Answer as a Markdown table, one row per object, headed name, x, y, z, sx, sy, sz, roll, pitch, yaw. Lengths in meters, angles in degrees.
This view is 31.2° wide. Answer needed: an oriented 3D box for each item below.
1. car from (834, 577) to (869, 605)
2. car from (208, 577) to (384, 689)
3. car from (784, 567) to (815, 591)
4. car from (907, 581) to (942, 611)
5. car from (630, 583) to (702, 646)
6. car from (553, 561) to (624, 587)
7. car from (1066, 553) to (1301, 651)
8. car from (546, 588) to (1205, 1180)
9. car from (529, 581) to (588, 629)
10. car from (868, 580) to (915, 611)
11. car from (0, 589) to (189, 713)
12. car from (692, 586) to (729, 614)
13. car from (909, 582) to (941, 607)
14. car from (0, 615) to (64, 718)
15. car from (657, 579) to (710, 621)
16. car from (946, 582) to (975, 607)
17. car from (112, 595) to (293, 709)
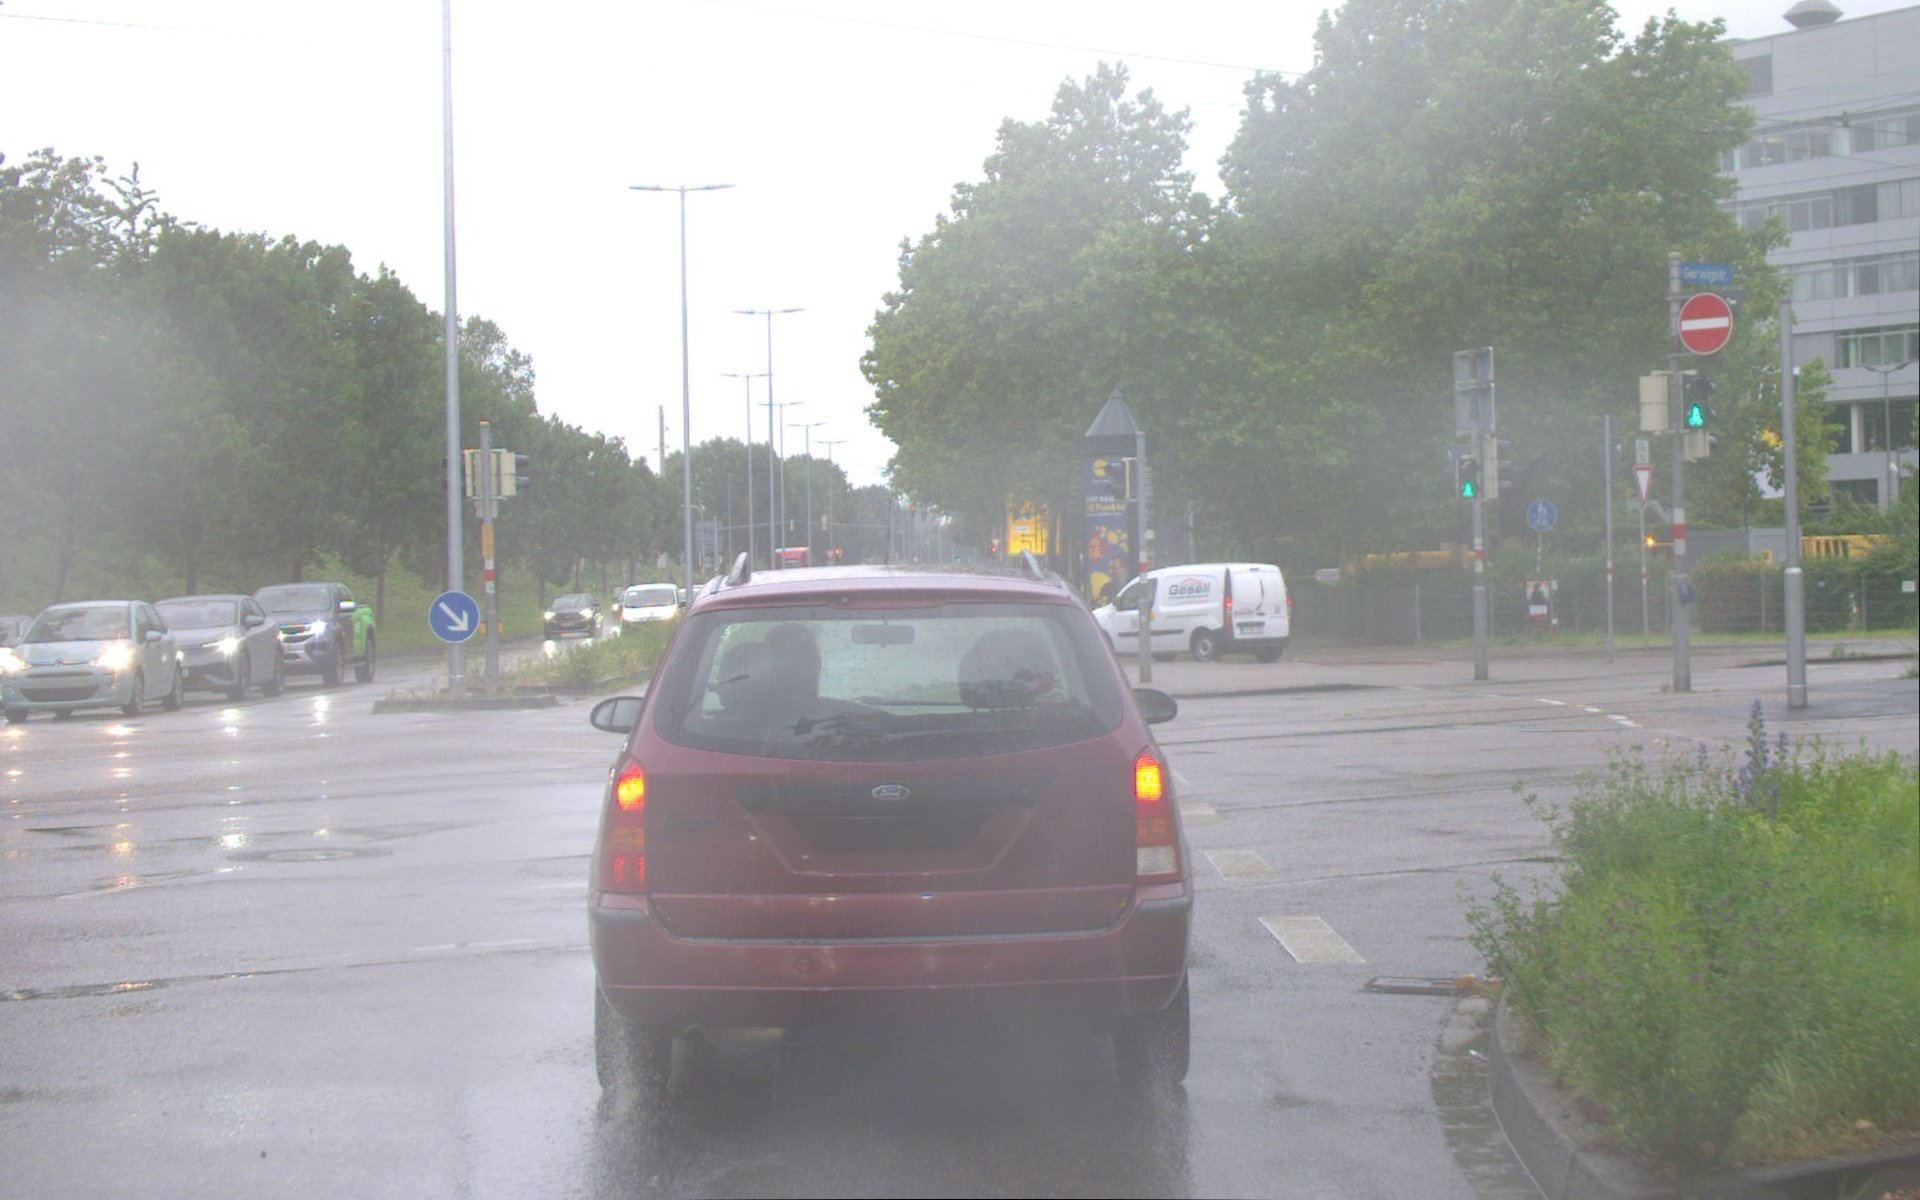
| name | x | y | z | sx | sy | sz | roll | pitch | yaw |
| --- | --- | --- | --- | --- | --- | --- | --- | --- | --- |
| car | -6.031 | -0.490 | 190.798 | 1.698 | 1.523 | 3.845 | -1 | 0 | 1 |
| car | -11.507 | 0.531 | 59.970 | 2.065 | 1.813 | 5.542 | -2 | 0 | -1 |
| car | -11.339 | -1.481 | 243.117 | 1.963 | 1.591 | 4.284 | -2 | 0 | 0 |
| car | -1.880 | -0.224 | 182.608 | 1.698 | 1.523 | 3.845 | -1 | 0 | 1 |
| car | -8.503 | 0.402 | 99.598 | 1.743 | 1.696 | 4.284 | -3 | 0 | -1 |
| car | -25.077 | -1.763 | 232.130 | 4.270 | 1.591 | 1.969 | -2 | 0 | -35 |
| car | 4.012 | 0.018 | 62.286 | 1.736 | 1.720 | 4.242 | 0 | 0 | -42 |
| car | -0.253 | 0.713 | 10.553 | 1.642 | 1.460 | 3.733 | 1 | 0 | -1 |
| car | -14.845 | 0.162 | 127.152 | 1.743 | 1.696 | 4.284 | 1 | 0 | -1 |
| car | -3.514 | -0.255 | 176.428 | 2.147 | 1.523 | 4.192 | -1 | 0 | 2 |
| car | -11.263 | 0.628 | 44.695 | 1.638 | 1.468 | 3.965 | -2 | 0 | -1 |
| car | -14.662 | 0.001 | 202.187 | 1.963 | 1.591 | 4.284 | -2 | 0 | -1 |
| car | -2.229 | -0.349 | 218.977 | 1.671 | 1.523 | 3.845 | -1 | 0 | 4 |
| car | -14.318 | 0.963 | 50.047 | 1.590 | 1.399 | 3.823 | -2 | 0 | -1 |
| car | -11.813 | -0.007 | 147.223 | 1.963 | 1.696 | 4.284 | -2 | 0 | -1 |
| car | 0.046 | -0.332 | 212.723 | 1.671 | 1.523 | 3.845 | -1 | 0 | 1 |
| car | -11.329 | 0.753 | 51.685 | 1.762 | 1.580 | 4.813 | -2 | 0 | -2 |
